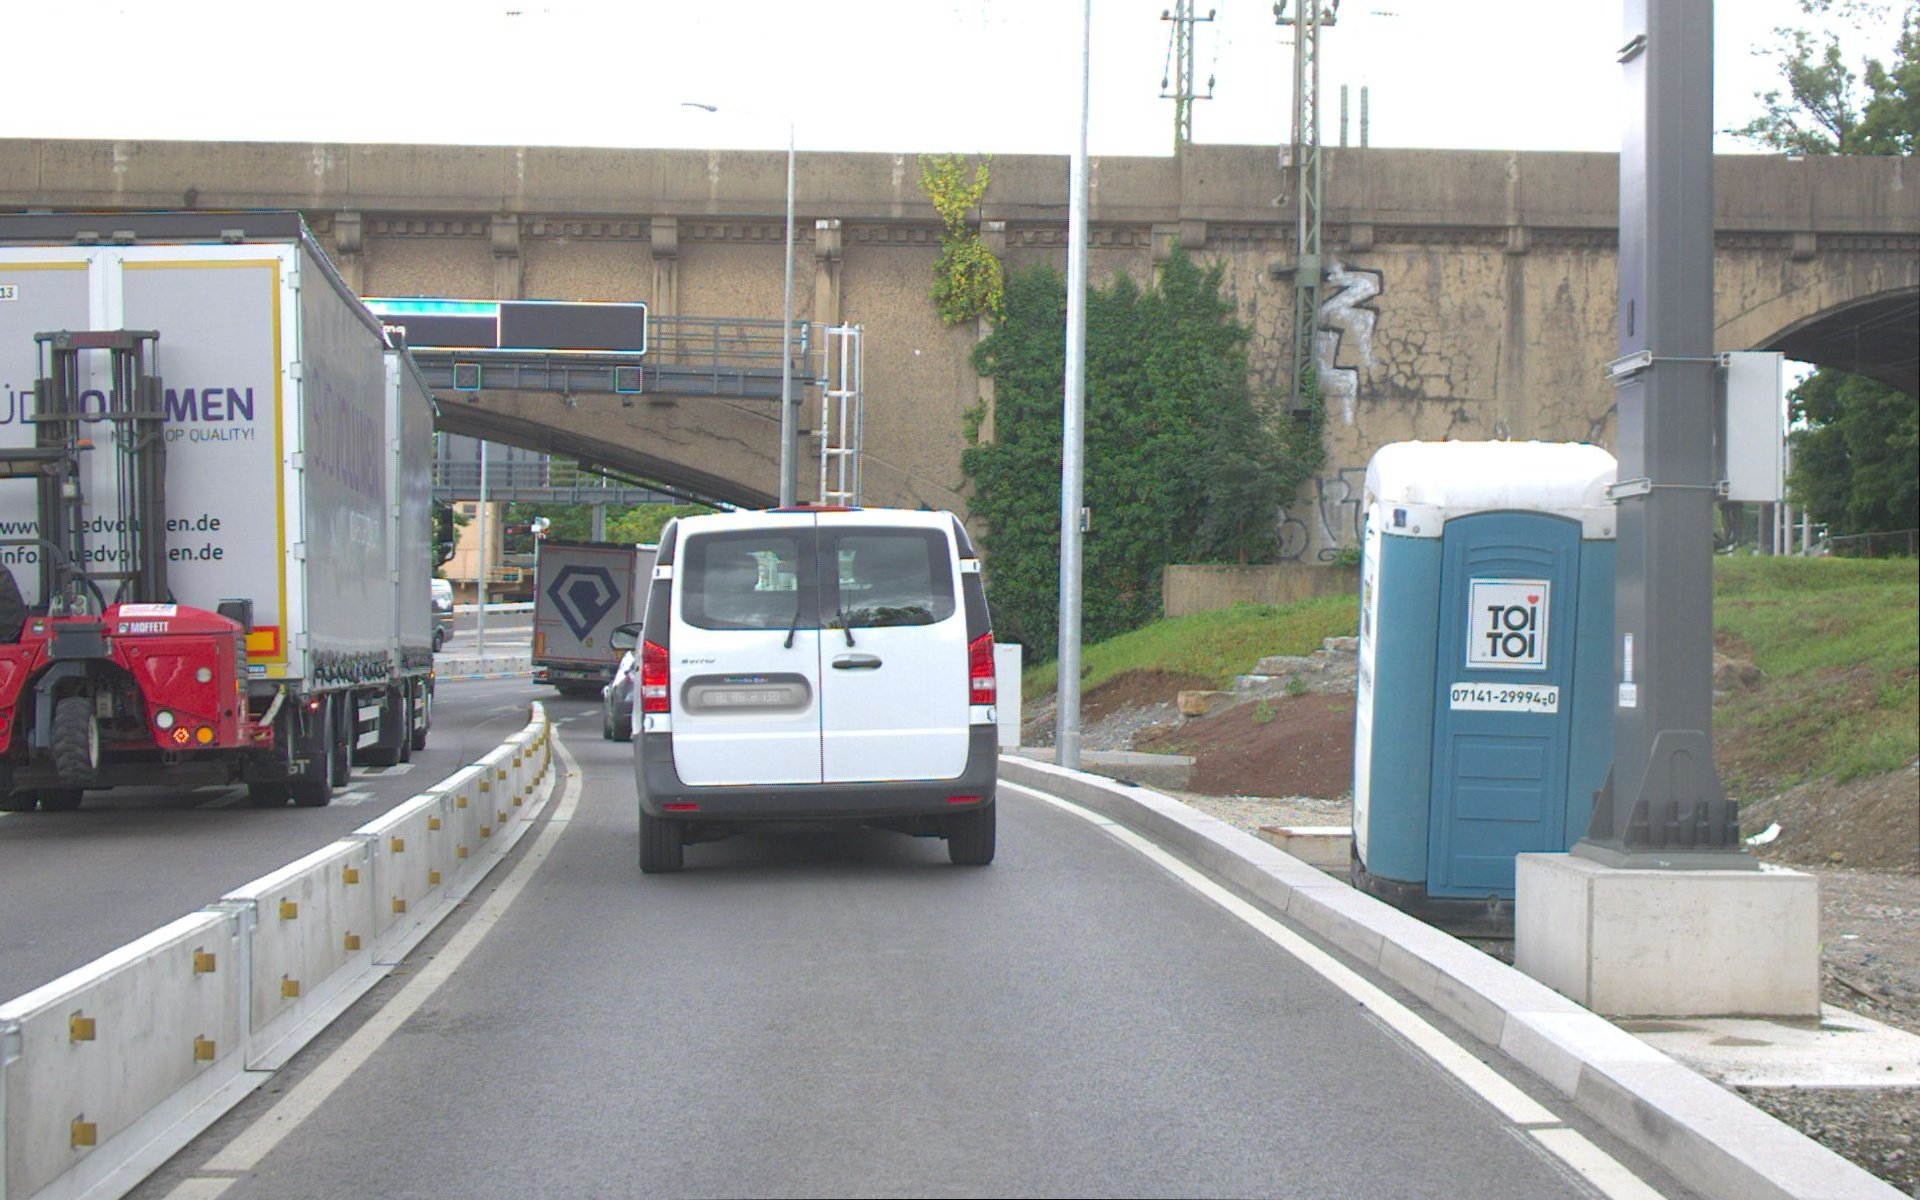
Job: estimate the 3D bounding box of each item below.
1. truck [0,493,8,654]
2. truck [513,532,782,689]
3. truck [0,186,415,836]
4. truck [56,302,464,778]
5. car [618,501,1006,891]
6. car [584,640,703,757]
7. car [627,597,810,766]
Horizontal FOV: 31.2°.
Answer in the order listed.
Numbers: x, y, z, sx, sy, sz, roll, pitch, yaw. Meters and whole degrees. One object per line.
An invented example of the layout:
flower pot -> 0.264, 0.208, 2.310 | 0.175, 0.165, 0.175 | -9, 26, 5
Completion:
truck -> -25.888, -0.652, 80.231 | 2.899, 4.048, 13.987 | 1, 0, 2
truck -> -8.305, 0.343, 94.699 | 3.318, 3.797, 16.586 | 3, 0, 9
truck -> -6.017, -0.532, 26.346 | 2.917, 4.003, 10.202 | -1, 0, -5
truck -> -7.002, -0.514, 36.066 | 2.987, 4.162, 11.242 | -1, 0, -6
car -> -0.716, 0.433, 19.343 | 1.876, 1.884, 4.753 | 1, 1, 0
car -> -4.240, 1.349, 46.151 | 1.500, 1.464, 3.399 | 2, -3, -5
car -> -2.446, 0.799, 35.184 | 1.749, 1.620, 3.845 | 0, 0, -3
